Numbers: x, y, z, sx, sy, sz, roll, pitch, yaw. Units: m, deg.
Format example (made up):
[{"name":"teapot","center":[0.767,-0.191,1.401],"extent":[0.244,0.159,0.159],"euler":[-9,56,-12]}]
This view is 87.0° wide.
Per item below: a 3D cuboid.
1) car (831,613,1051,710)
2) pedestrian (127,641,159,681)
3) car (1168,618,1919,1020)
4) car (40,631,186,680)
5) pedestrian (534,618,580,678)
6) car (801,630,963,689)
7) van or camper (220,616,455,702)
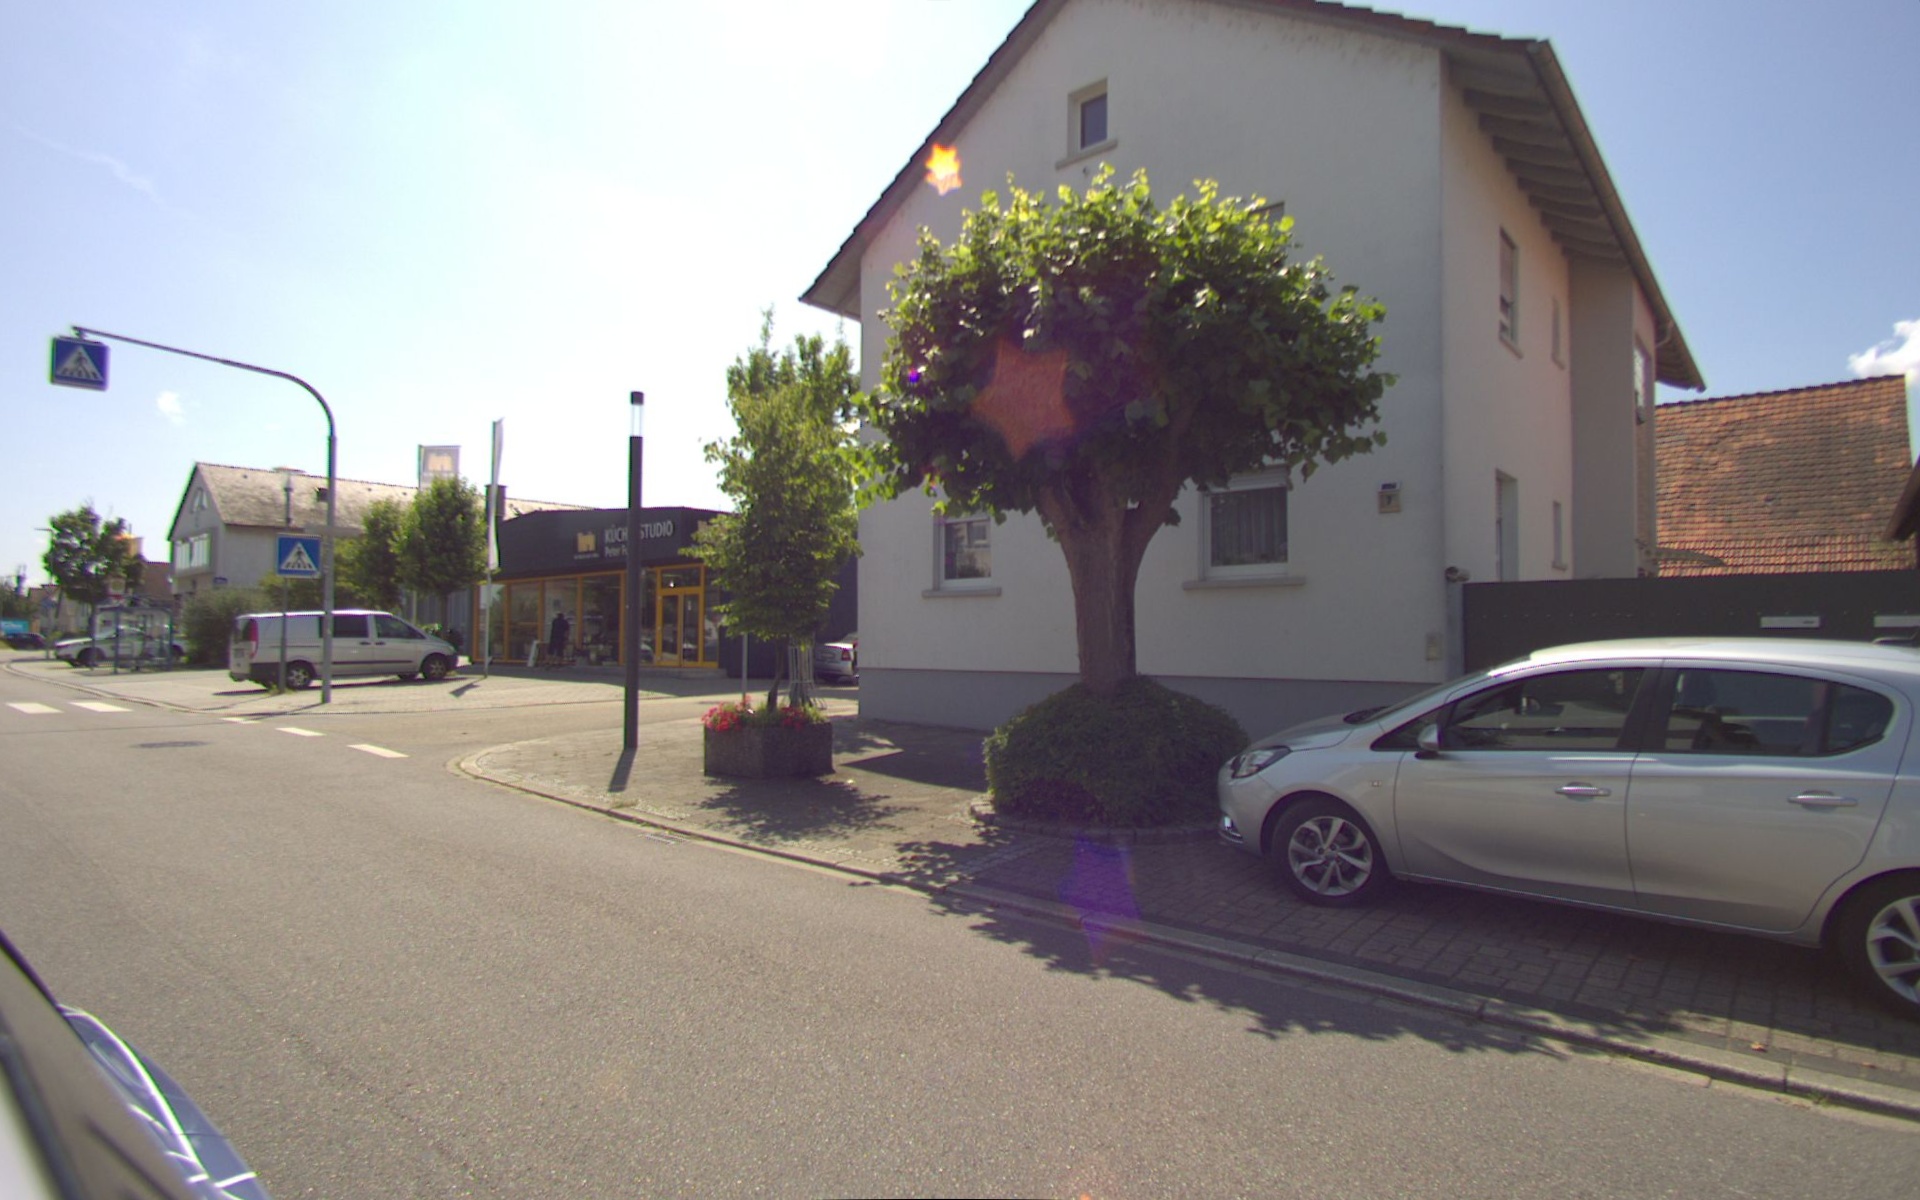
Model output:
[{"name":"car","center":[-0.283,1.177,20.429],"extent":[1.999,1.729,4.378],"euler":[-4,-3,41]},{"name":"pedestrian","center":[-28.775,2.140,35.634],"extent":[0.607,1.368,0.776],"euler":[-2,-2,41]},{"name":"car","center":[3.382,0.866,5.330],"extent":[4.131,1.494,1.806],"euler":[-1,0,42]},{"name":"car","center":[-34.380,2.209,41.187],"extent":[1.941,1.732,4.202],"euler":[-1,0,35]},{"name":"pedestrian","center":[-12.238,1.458,30.790],"extent":[0.922,1.788,1.069],"euler":[0,-2,4]},{"name":"car","center":[-2.050,1.562,27.614],"extent":[1.866,1.474,4.378],"euler":[-2,-3,41]},{"name":"van or camper","center":[-15.689,1.423,25.707],"extent":[1.998,1.876,4.692],"euler":[-2,-1,40]}]
